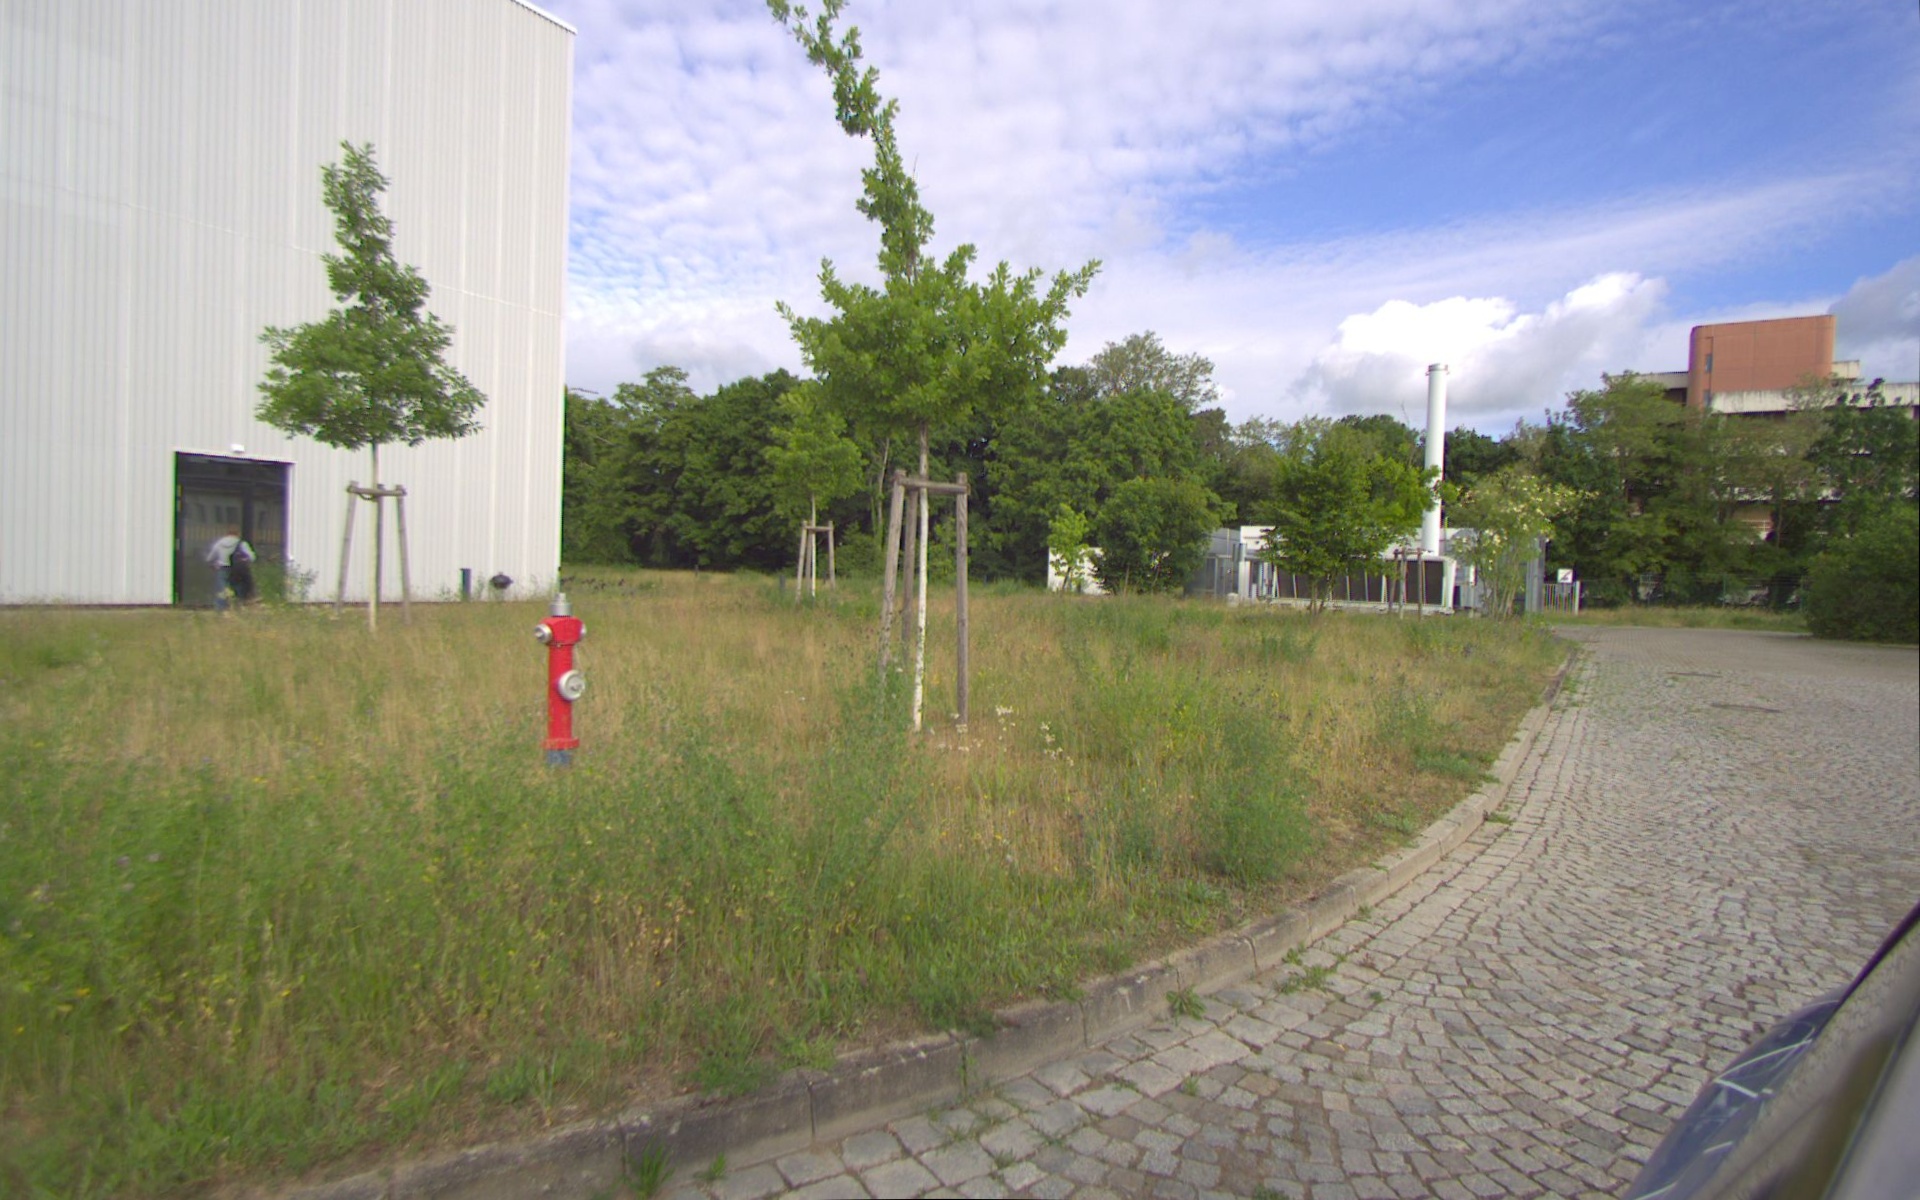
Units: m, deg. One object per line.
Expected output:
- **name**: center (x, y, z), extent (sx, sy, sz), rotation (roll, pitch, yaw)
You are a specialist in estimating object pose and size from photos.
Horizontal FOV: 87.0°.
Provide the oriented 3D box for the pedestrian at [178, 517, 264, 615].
- **pedestrian**: center (-12.346, -0.564, 16.939), extent (1.054, 1.575, 1.080), rotation (1, 2, -32)
